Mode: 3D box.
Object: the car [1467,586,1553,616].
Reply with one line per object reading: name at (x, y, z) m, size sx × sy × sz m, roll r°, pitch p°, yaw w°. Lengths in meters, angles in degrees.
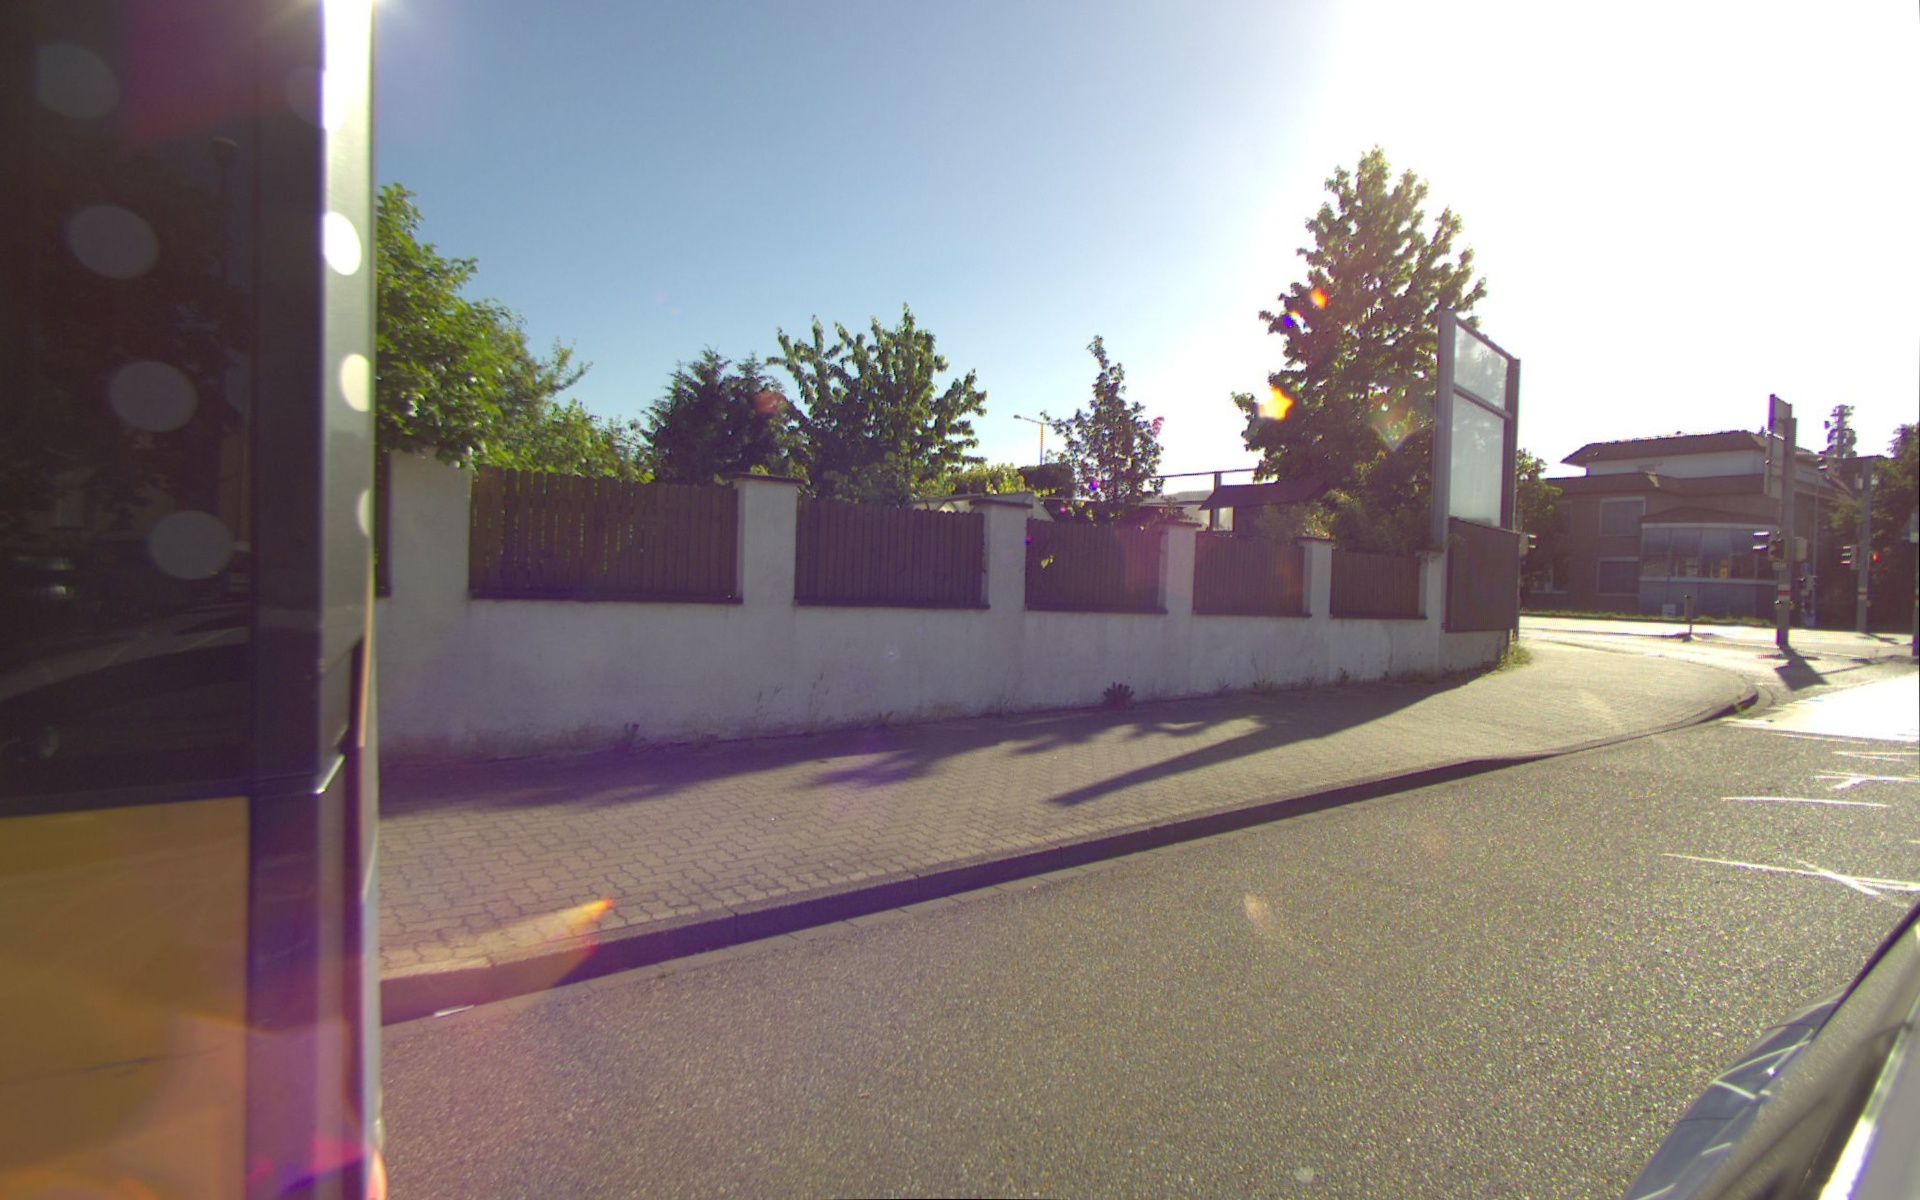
car at (29.384, 0.054, 54.089) m, size 3.766 × 1.505 × 1.750 m, roll 1°, pitch -1°, yaw 42°
